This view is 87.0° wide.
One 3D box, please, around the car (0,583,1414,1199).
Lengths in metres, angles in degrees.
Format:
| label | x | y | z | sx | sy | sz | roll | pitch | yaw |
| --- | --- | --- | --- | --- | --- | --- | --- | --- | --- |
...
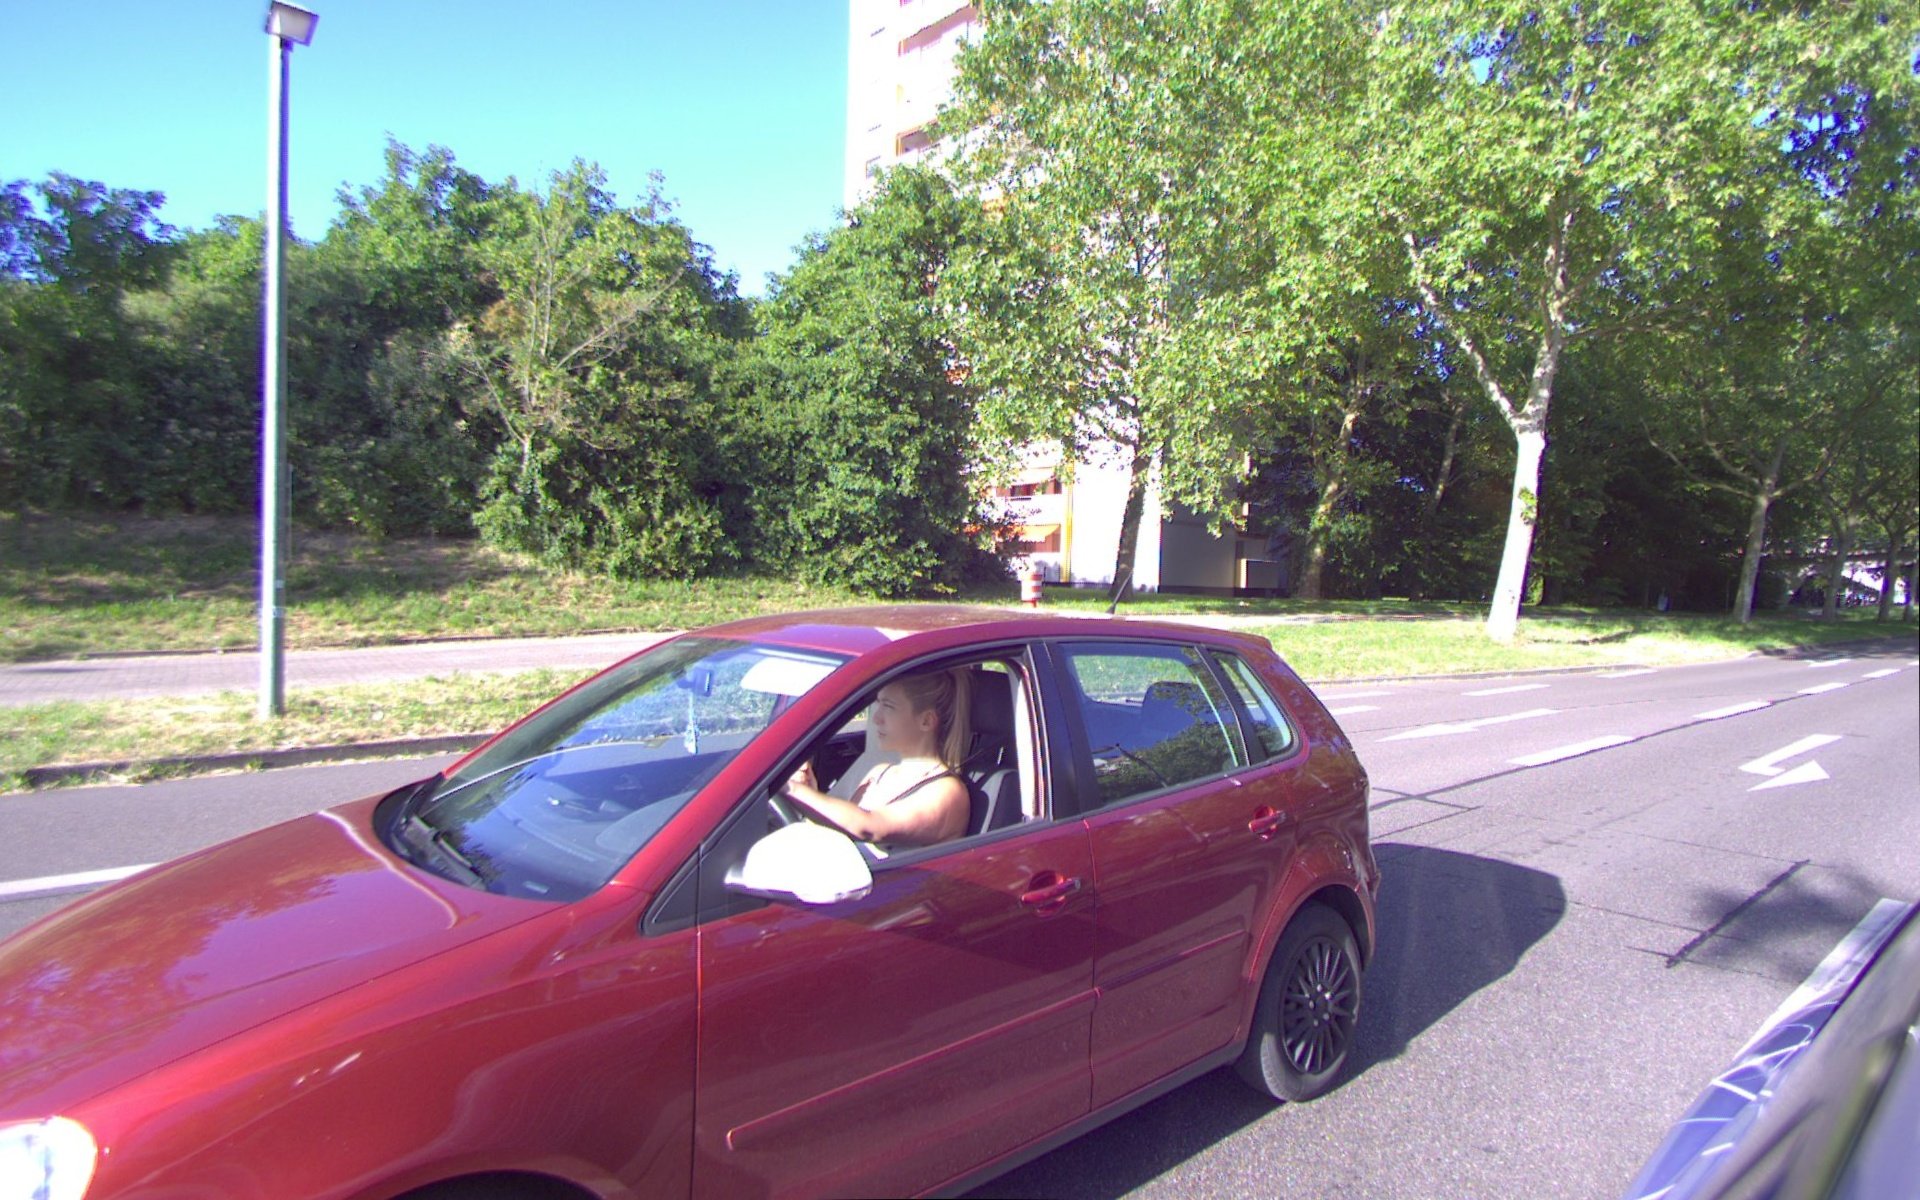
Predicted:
| label | x | y | z | sx | sy | sz | roll | pitch | yaw |
| --- | --- | --- | --- | --- | --- | --- | --- | --- | --- |
| car | -0.463 | 0.693 | 2.757 | 3.627 | 1.434 | 1.626 | 0 | 1 | -39 |
